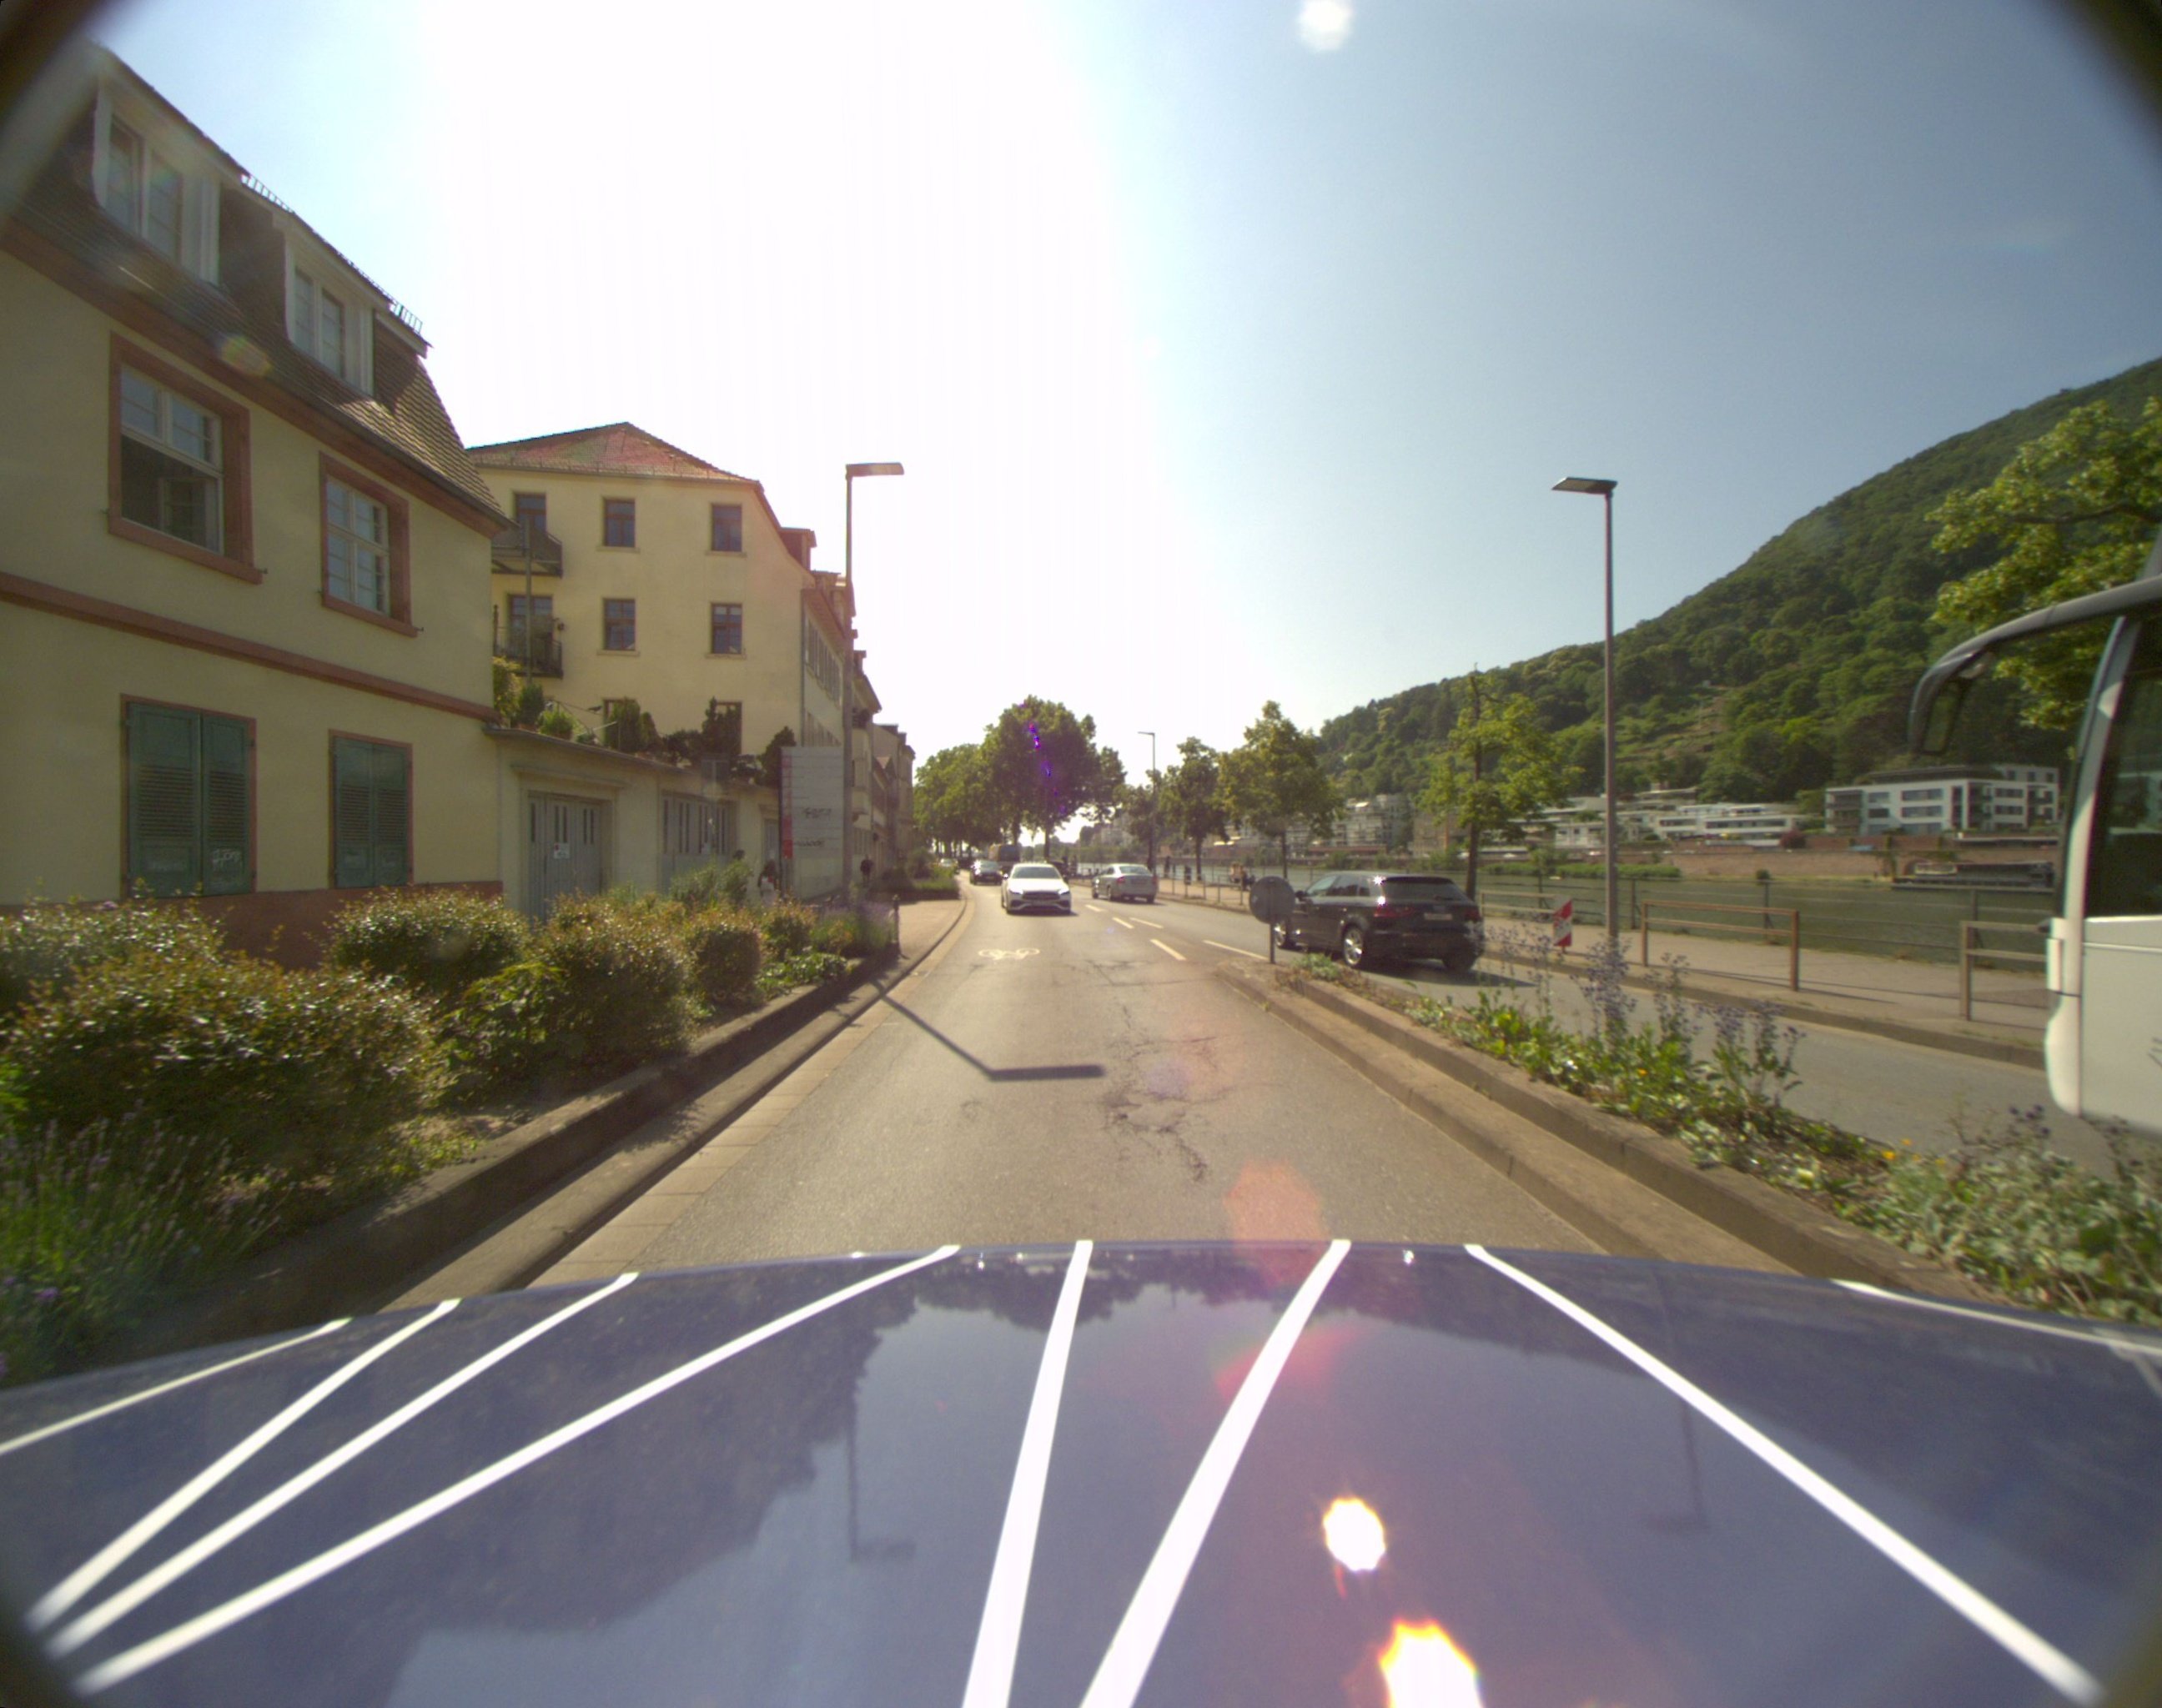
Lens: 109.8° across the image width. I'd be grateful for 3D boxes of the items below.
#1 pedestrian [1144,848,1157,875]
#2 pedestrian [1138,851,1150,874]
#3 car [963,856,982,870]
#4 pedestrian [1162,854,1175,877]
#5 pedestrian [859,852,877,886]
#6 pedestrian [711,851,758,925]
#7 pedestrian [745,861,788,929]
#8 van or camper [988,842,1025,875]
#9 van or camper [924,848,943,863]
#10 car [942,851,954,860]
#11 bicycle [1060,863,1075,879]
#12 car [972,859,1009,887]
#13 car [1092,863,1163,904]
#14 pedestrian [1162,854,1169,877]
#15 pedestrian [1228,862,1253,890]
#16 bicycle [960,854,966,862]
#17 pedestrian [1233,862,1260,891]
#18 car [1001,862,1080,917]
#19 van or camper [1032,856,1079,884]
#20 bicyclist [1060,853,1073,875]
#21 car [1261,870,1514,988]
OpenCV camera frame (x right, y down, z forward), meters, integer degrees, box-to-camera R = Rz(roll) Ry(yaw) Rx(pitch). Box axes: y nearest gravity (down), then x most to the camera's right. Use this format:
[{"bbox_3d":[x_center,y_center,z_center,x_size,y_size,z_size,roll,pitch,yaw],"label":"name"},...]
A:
[{"bbox_3d":[5.027,0.542,55.186,0.696,1.934,0.885,0,1,-15],"label":"pedestrian"},{"bbox_3d":[4.781,0.646,57.657,0.759,1.673,0.657,-3,2,-12],"label":"pedestrian"},{"bbox_3d":[-12.222,0.980,85.696,1.707,1.450,3.996,1,0,-14],"label":"car"},{"bbox_3d":[5.982,0.775,51.943,0.696,1.606,0.663,0,1,-7],"label":"pedestrian"},{"bbox_3d":[-10.949,0.771,39.098,0.764,1.703,0.695,3,0,-11],"label":"pedestrian"},{"bbox_3d":[-8.196,0.789,18.004,0.740,1.689,0.933,1,1,-7],"label":"pedestrian"},{"bbox_3d":[-7.497,0.960,18.130,0.764,1.586,0.695,0,1,-7],"label":"pedestrian"},{"bbox_3d":[-6.235,0.305,62.890,2.095,2.542,7.082,0,1,-13],"label":"van or camper"},{"bbox_3d":[-22.525,0.249,115.945,2.440,2.271,6.195,0,0,-15],"label":"van or camper"},{"bbox_3d":[-22.359,0.219,127.770,1.707,1.436,4.087,-1,-1,-14],"label":"car"},{"bbox_3d":[-1.032,1.260,56.030,0.714,1.162,1.894,-1,0,-13],"label":"bicycle"},{"bbox_3d":[-4.926,0.982,41.331,1.876,1.415,4.741,-1,0,-7],"label":"car"},{"bbox_3d":[1.712,1.091,29.549,1.819,1.420,4.307,2,-1,-9],"label":"car"},{"bbox_3d":[5.844,0.814,52.489,0.416,1.588,0.450,0,1,-7],"label":"pedestrian"},{"bbox_3d":[7.350,1.000,35.075,0.939,1.273,0.849,0,1,-6],"label":"pedestrian"},{"bbox_3d":[-16.242,0.591,104.461,0.743,1.071,1.951,-1,0,-10],"label":"bicycle"},{"bbox_3d":[7.441,1.018,34.167,0.939,1.273,0.849,0,1,-6],"label":"pedestrian"},{"bbox_3d":[-1.353,0.996,23.103,1.877,1.415,4.740,1,0,-9],"label":"car"},{"bbox_3d":[-1.574,0.919,44.953,2.001,1.446,4.677,2,0,-12],"label":"van or camper"},{"bbox_3d":[-1.062,0.737,56.145,0.743,1.658,1.088,0,0,-12],"label":"bicyclist"},{"bbox_3d":[4.471,1.025,11.891,1.822,1.421,4.190,1,0,-7],"label":"car"}]
